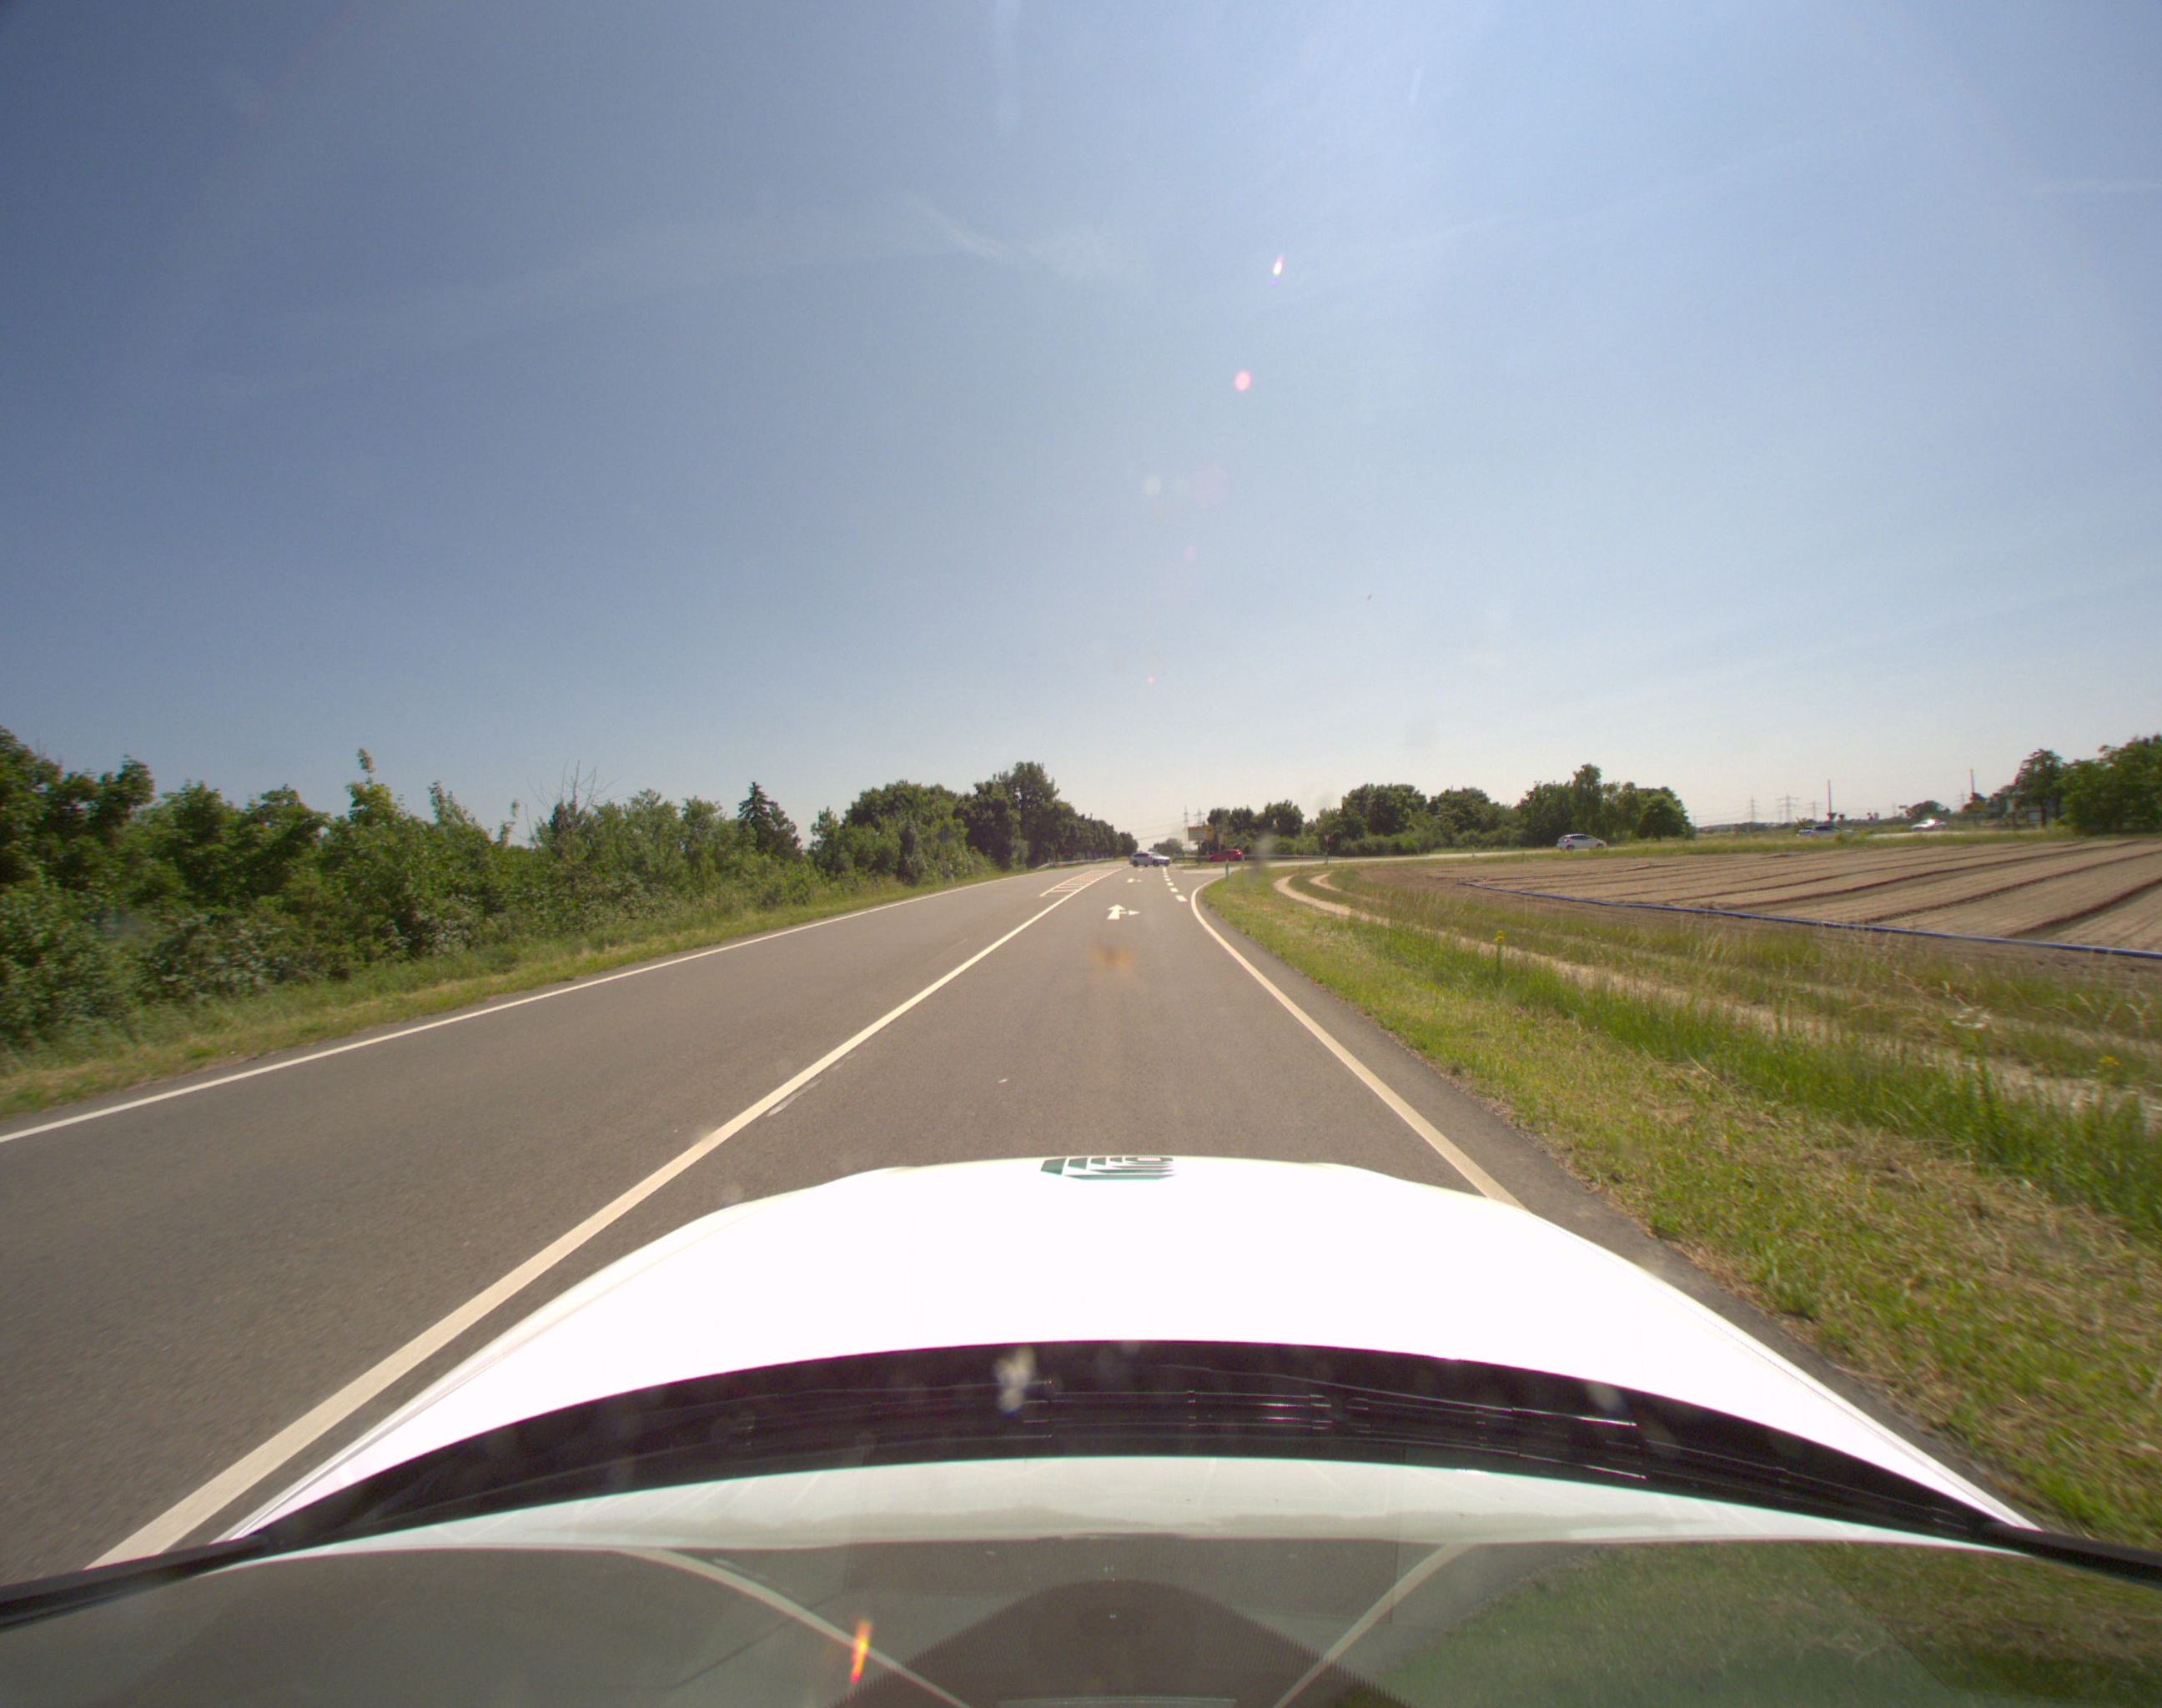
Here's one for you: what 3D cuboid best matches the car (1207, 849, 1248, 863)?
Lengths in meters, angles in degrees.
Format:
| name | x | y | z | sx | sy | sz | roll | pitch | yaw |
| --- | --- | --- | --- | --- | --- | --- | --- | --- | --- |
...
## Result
| name | x | y | z | sx | sy | sz | roll | pitch | yaw |
| --- | --- | --- | --- | --- | --- | --- | --- | --- | --- |
| car | 15.969 | 0.195 | 88.565 | 4.119 | 1.418 | 1.788 | -2 | -1 | 19 |

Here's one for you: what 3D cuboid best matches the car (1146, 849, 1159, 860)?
| name | x | y | z | sx | sy | sz | roll | pitch | yaw |
| --- | --- | --- | --- | --- | --- | --- | --- | --- | --- |
| car | 10.657 | 0.097 | 121.902 | 1.876 | 1.518 | 4.044 | -1 | 0 | 4 |

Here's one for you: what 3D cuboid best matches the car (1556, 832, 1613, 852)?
| name | x | y | z | sx | sy | sz | roll | pitch | yaw |
| --- | --- | --- | --- | --- | --- | --- | --- | --- | --- |
| car | 47.583 | -1.107 | 77.091 | 4.101 | 1.623 | 2.078 | -3 | 0 | 12 |

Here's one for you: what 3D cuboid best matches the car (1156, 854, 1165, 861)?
| name | x | y | z | sx | sy | sz | roll | pitch | yaw |
| --- | --- | --- | --- | --- | --- | --- | --- | --- | --- |
| car | 15.435 | 0.635 | 158.000 | 1.636 | 1.341 | 4.044 | -1 | 0 | 4 |

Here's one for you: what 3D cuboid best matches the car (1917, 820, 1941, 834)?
| name | x | y | z | sx | sy | sz | roll | pitch | yaw |
| --- | --- | --- | --- | --- | --- | --- | --- | --- | --- |
| car | 108.839 | -3.482 | 104.530 | 4.790 | 1.623 | 1.625 | -2 | 0 | -38 |

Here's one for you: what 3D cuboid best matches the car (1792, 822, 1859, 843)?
| name | x | y | z | sx | sy | sz | roll | pitch | yaw |
| --- | --- | --- | --- | --- | --- | --- | --- | --- | --- |
| car | 65.621 | -1.910 | 71.833 | 3.952 | 1.623 | 1.653 | -3 | 0 | 22 |

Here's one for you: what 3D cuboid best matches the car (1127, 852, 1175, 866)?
| name | x | y | z | sx | sy | sz | roll | pitch | yaw |
| --- | --- | --- | --- | --- | --- | --- | --- | --- | --- |
| car | 6.936 | 0.504 | 81.444 | 4.656 | 1.418 | 1.852 | -1 | -1 | 43 |
